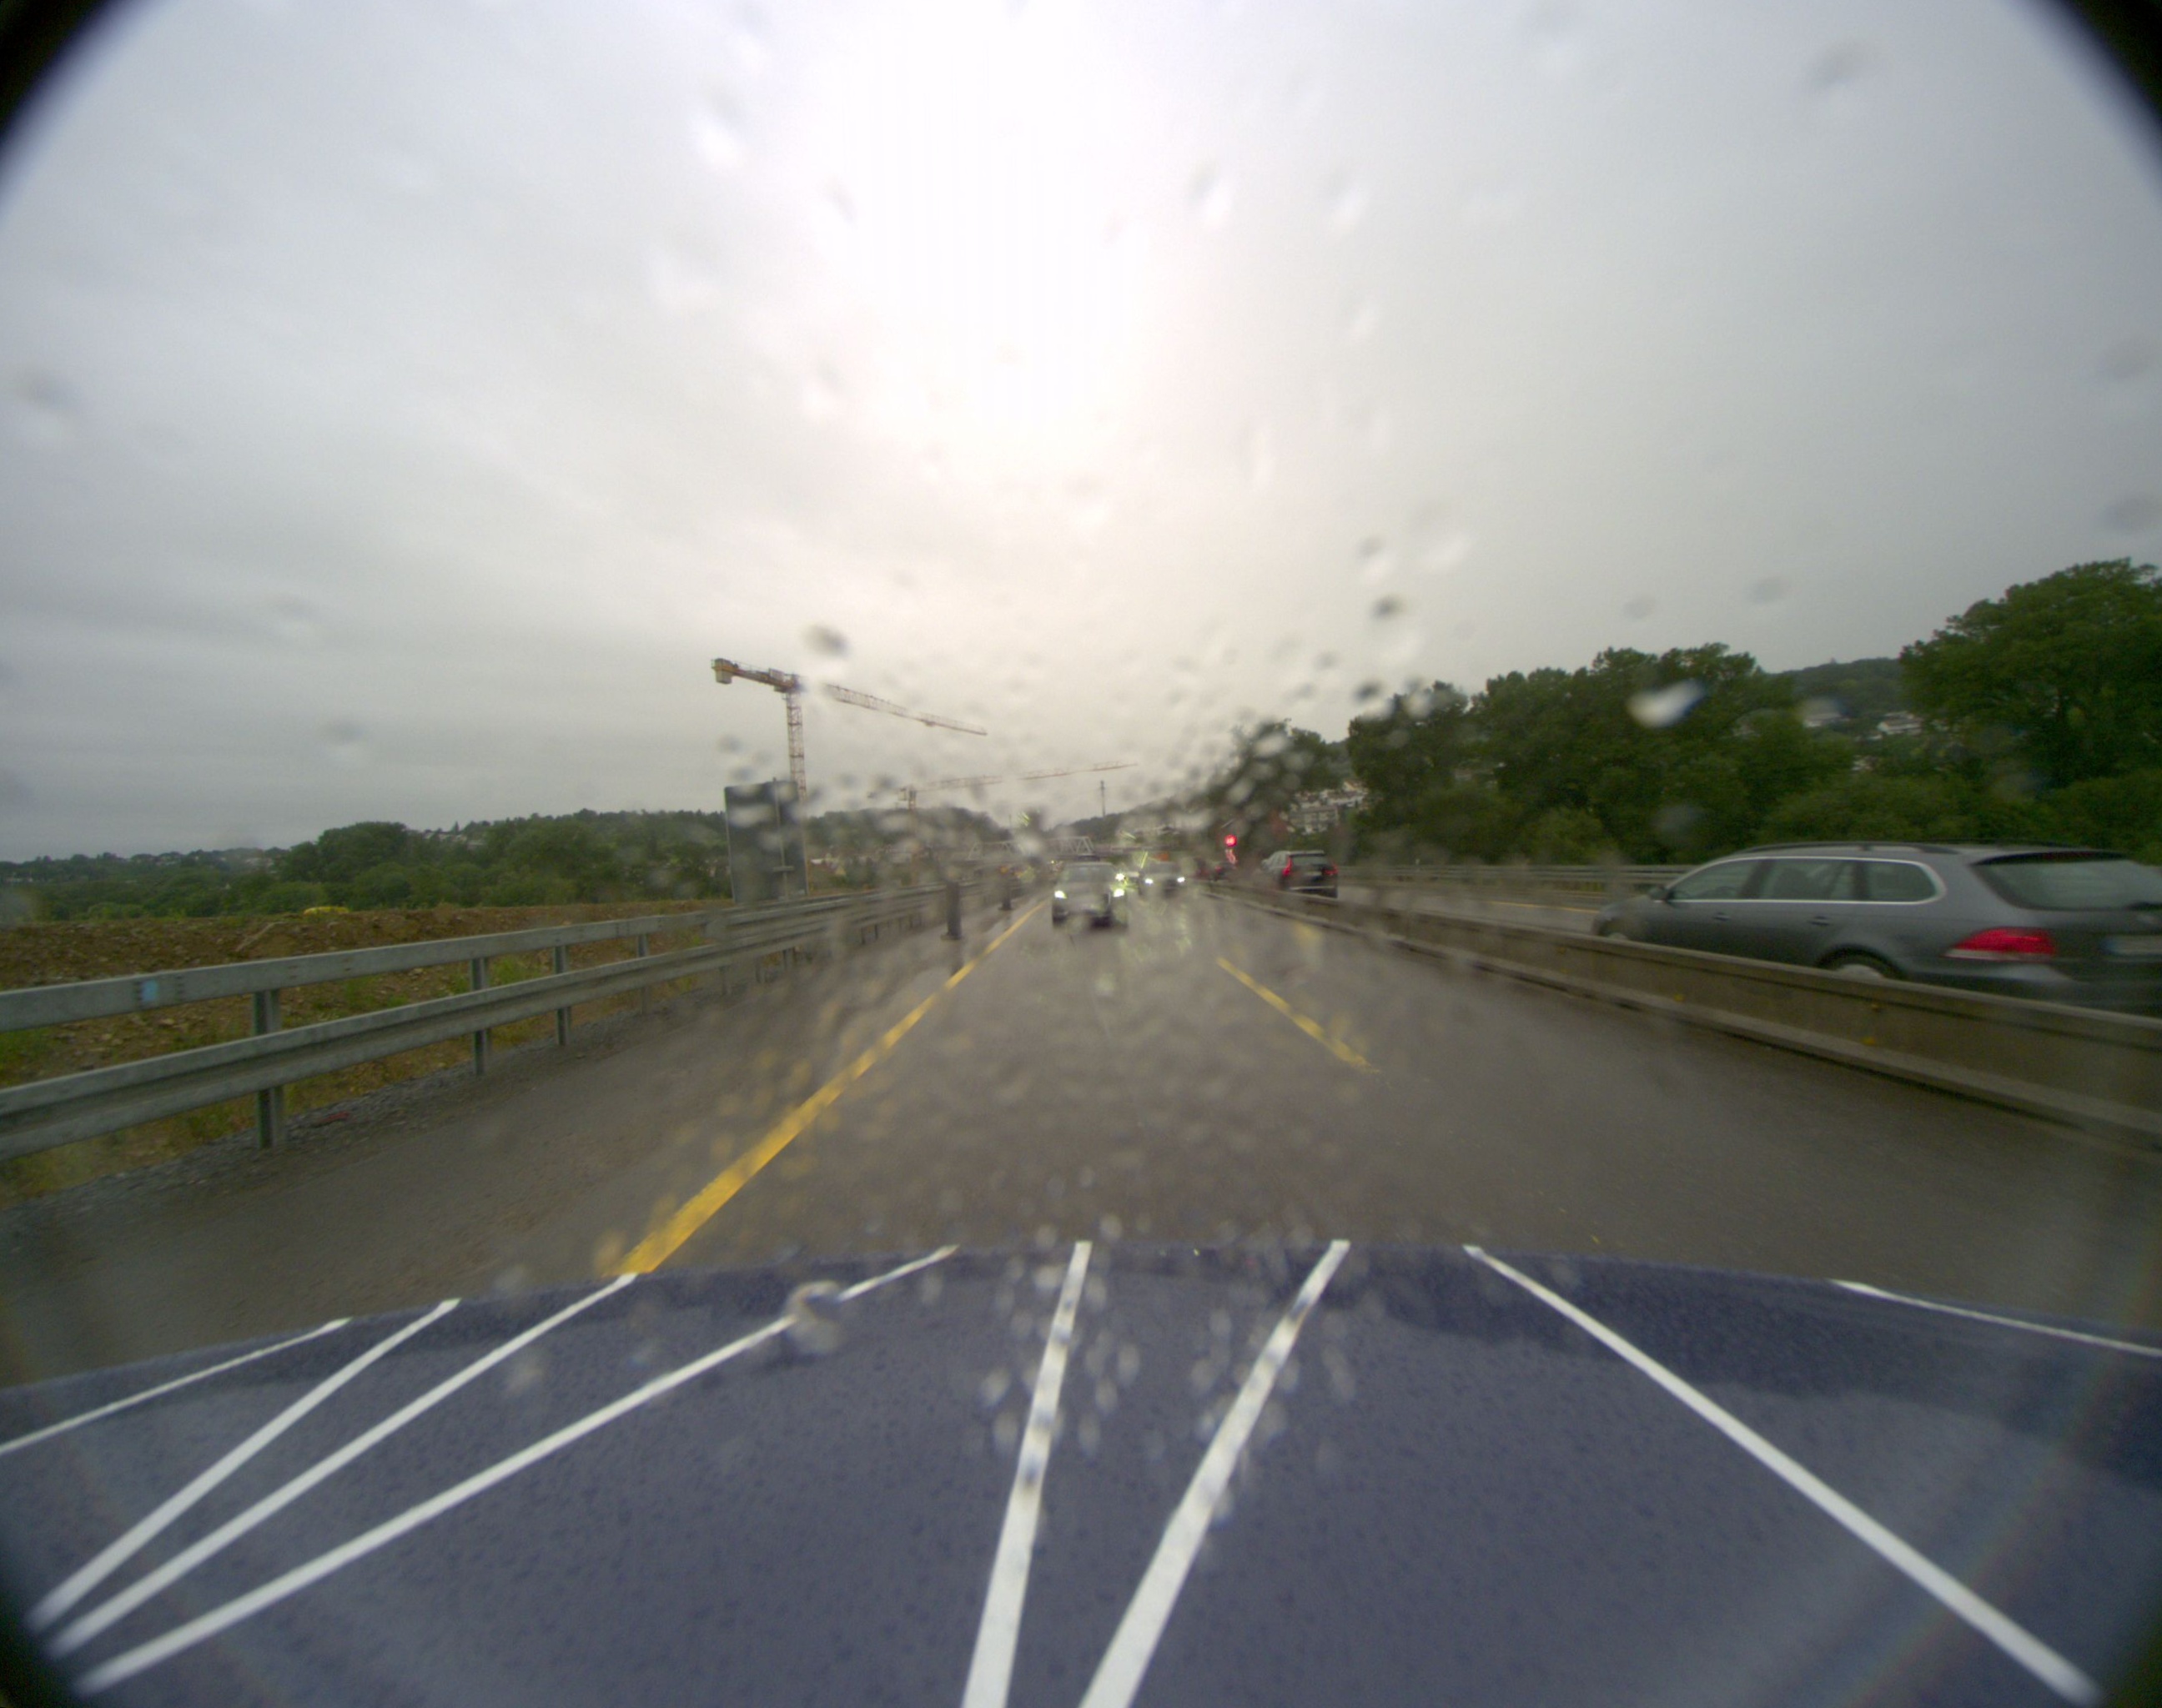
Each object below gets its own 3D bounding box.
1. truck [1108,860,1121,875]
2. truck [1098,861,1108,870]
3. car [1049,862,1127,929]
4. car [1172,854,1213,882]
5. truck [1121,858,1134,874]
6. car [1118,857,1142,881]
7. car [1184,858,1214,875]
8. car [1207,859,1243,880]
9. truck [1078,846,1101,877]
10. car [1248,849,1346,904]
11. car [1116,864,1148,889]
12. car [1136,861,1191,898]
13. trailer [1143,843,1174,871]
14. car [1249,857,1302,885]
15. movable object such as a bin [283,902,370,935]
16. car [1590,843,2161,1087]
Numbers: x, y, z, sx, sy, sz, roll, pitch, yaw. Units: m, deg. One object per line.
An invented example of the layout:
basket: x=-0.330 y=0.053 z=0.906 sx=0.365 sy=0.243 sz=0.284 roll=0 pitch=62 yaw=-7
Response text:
truck: x=7.043 y=2.821 z=159.967 sx=2.413 sy=2.976 sz=6.539 roll=-2 pitch=0 yaw=1
truck: x=7.199 y=3.689 z=247.748 sx=2.800 sy=2.769 sz=5.498 roll=-2 pitch=0 yaw=0
car: x=0.204 y=0.992 z=19.982 sx=1.781 sy=1.514 sz=4.141 roll=-2 pitch=0 yaw=1
car: x=7.222 y=0.940 z=49.717 sx=1.850 sy=1.737 sz=4.845 roll=0 pitch=-1 yaw=-1
truck: x=10.776 y=2.767 z=175.918 sx=2.607 sy=3.605 sz=6.539 roll=-2 pitch=0 yaw=1
car: x=4.310 y=1.323 z=66.349 sx=1.998 sy=2.001 sz=4.002 roll=-2 pitch=-1 yaw=4
car: x=11.533 y=1.235 z=74.632 sx=1.999 sy=1.501 sz=4.746 roll=-2 pitch=-1 yaw=-1
car: x=10.619 y=1.161 z=56.330 sx=1.825 sy=1.487 sz=4.001 roll=-2 pitch=-2 yaw=0
truck: x=1.004 y=0.840 z=90.009 sx=2.575 sy=3.450 sz=6.627 roll=-2 pitch=0 yaw=1
car: x=7.035 y=0.687 z=25.249 sx=1.998 sy=1.645 sz=4.470 roll=-1 pitch=0 yaw=0
car: x=3.240 y=1.397 z=48.880 sx=1.781 sy=1.430 sz=4.484 roll=-2 pitch=0 yaw=1
car: x=3.551 y=1.050 z=33.502 sx=1.951 sy=1.430 sz=4.484 roll=-2 pitch=0 yaw=1
trailer: x=11.588 y=0.569 z=114.728 sx=3.285 sy=3.885 sz=13.702 roll=-2 pitch=-1 yaw=1
car: x=11.499 y=1.012 z=45.174 sx=1.851 sy=1.567 sz=4.270 roll=0 pitch=-1 yaw=-4
movable object such as a bin: x=-35.179 y=2.994 z=35.523 sx=1.391 sy=1.293 sz=2.705 roll=-2 pitch=0 yaw=-3
car: x=6.670 y=0.686 z=6.655 sx=1.714 sy=1.445 sz=4.000 roll=-2 pitch=0 yaw=0
